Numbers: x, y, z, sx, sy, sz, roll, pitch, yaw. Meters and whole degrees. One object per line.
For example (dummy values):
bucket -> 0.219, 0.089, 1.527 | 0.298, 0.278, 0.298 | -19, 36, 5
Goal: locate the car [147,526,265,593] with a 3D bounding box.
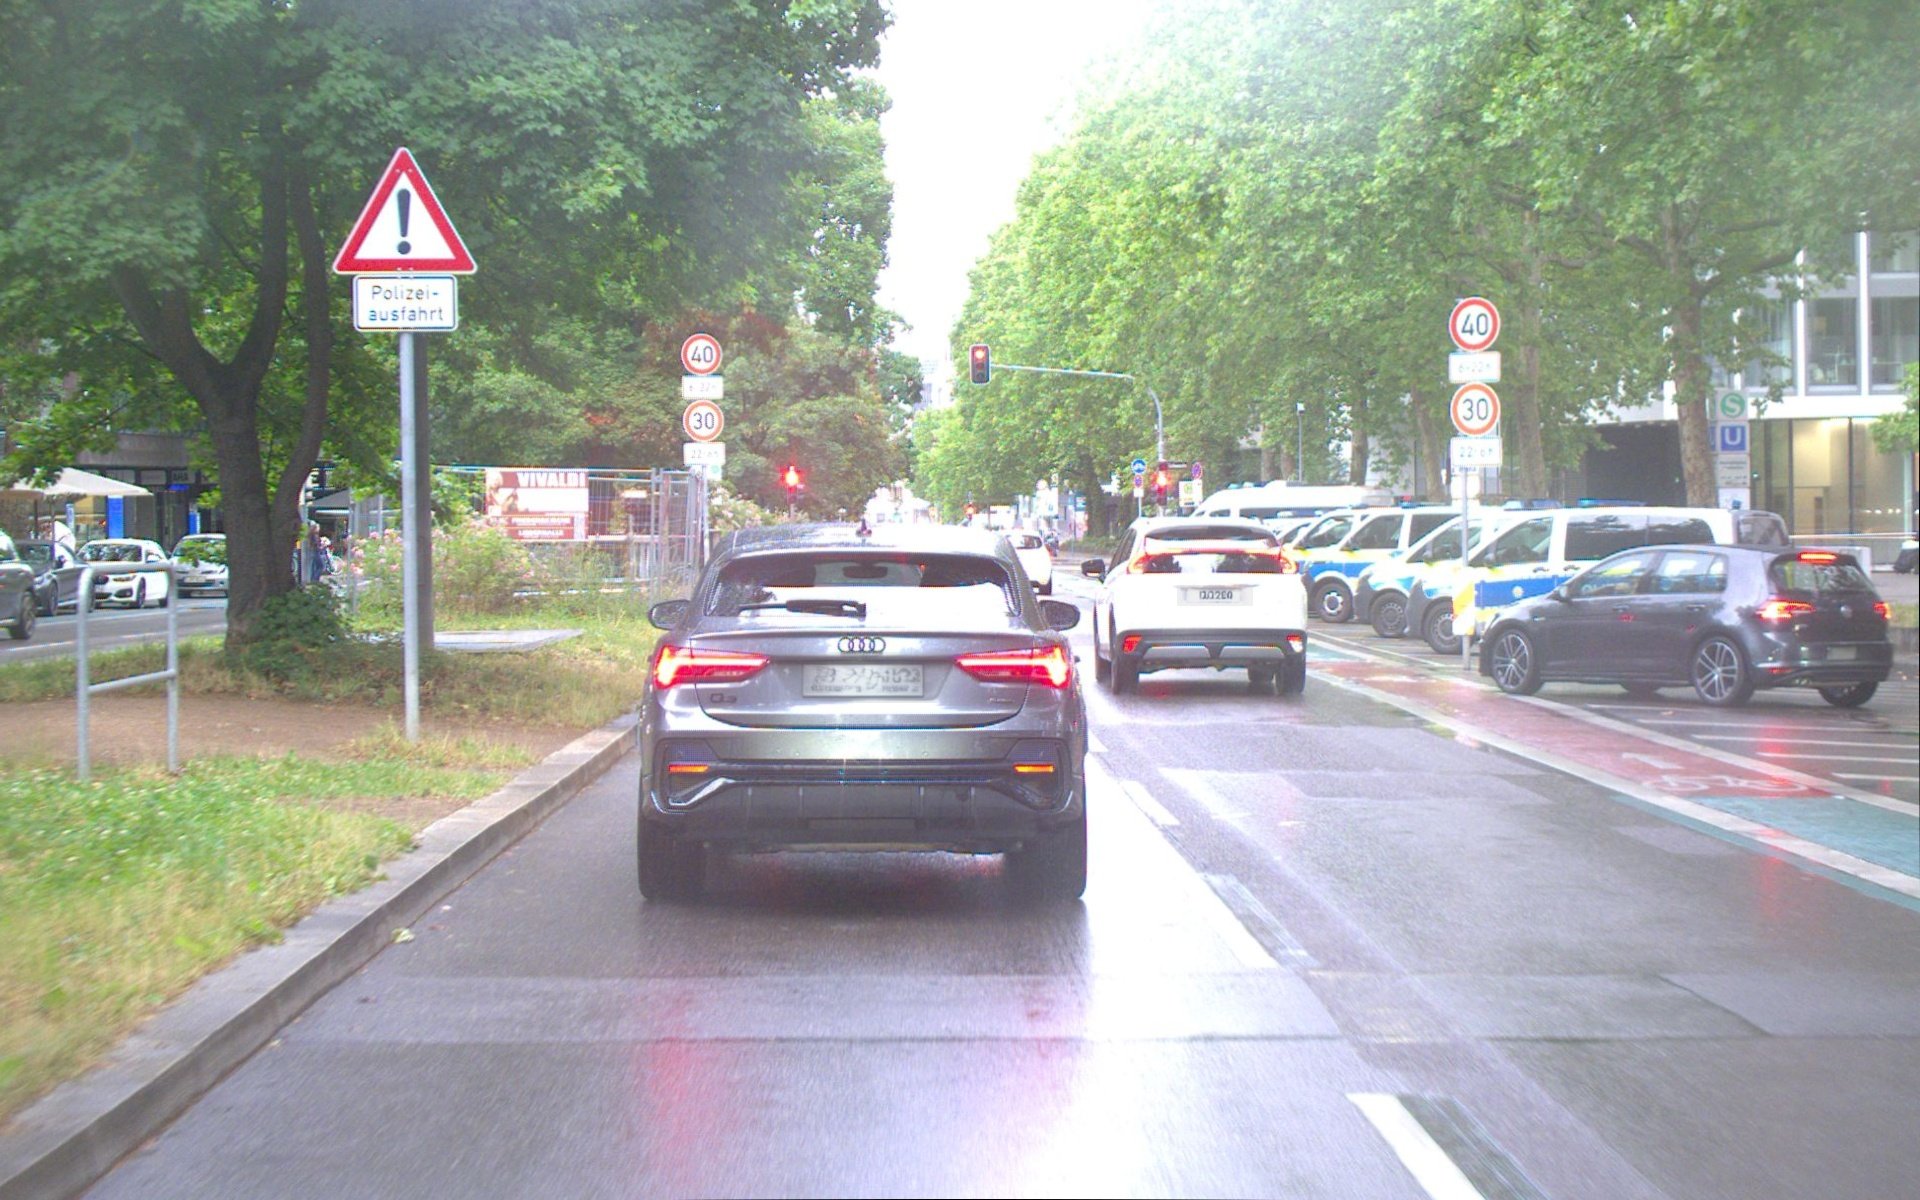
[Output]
car -> -17.924, -0.979, 81.880 | 1.993, 1.504, 4.519 | -1, 1, -3

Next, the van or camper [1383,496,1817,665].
van or camper -> 7.957, -0.287, 42.973 | 4.942, 1.985, 1.998 | 1, 1, 37

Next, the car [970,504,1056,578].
car -> 1.280, -1.462, 84.307 | 1.993, 1.744, 4.000 | -1, 1, -1

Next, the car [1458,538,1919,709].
car -> 6.534, 0.163, 31.038 | 1.765, 1.408, 3.999 | -2, 2, -35

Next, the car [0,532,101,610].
car -> -17.532, -0.565, 64.385 | 1.825, 1.389, 4.484 | 0, 1, -1

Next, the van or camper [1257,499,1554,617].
van or camper -> 7.777, -0.746, 60.247 | 4.789, 2.004, 1.996 | 1, 1, 35

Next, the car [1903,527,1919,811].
car -> 6.369, 0.439, 17.406 | 1.792, 1.597, 4.424 | 1, 1, -2

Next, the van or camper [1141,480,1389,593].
van or camper -> 7.444, -1.562, 84.314 | 5.809, 2.668, 2.143 | 1, 1, 37

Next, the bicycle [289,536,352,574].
bicycle -> -19.646, -1.382, 105.634 | 1.844, 1.133, 0.566 | -1, 2, -7

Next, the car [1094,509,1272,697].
car -> 2.076, -0.009, 32.578 | 1.433, 1.679, 2.979 | -1, 1, -1

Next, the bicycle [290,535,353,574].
bicycle -> -19.740, -1.413, 106.278 | 1.844, 1.145, 0.566 | -1, 2, -7

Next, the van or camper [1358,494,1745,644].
van or camper -> 8.460, -0.483, 49.378 | 5.082, 2.012, 1.993 | 2, 2, 36

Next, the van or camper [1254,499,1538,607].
van or camper -> 8.458, -0.938, 66.899 | 5.102, 2.018, 2.102 | 1, 2, 37

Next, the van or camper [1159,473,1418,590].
van or camper -> 7.697, -1.593, 80.866 | 5.804, 2.671, 1.996 | 0, 1, 35

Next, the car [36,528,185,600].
car -> -17.575, -0.774, 71.356 | 1.993, 1.365, 4.540 | 2, 1, -1

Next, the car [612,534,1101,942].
car -> -0.381, 0.485, 15.393 | 1.863, 1.527, 4.527 | 0, 1, 0

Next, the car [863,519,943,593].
car -> -1.273, -0.994, 76.042 | 1.721, 1.572, 3.962 | 0, 1, -1

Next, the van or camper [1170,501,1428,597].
van or camper -> 7.301, -1.119, 74.262 | 5.202, 1.985, 1.996 | 1, 1, 34

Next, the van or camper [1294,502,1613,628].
van or camper -> 8.050, -0.598, 56.280 | 4.849, 1.991, 1.864 | 1, 1, 36
